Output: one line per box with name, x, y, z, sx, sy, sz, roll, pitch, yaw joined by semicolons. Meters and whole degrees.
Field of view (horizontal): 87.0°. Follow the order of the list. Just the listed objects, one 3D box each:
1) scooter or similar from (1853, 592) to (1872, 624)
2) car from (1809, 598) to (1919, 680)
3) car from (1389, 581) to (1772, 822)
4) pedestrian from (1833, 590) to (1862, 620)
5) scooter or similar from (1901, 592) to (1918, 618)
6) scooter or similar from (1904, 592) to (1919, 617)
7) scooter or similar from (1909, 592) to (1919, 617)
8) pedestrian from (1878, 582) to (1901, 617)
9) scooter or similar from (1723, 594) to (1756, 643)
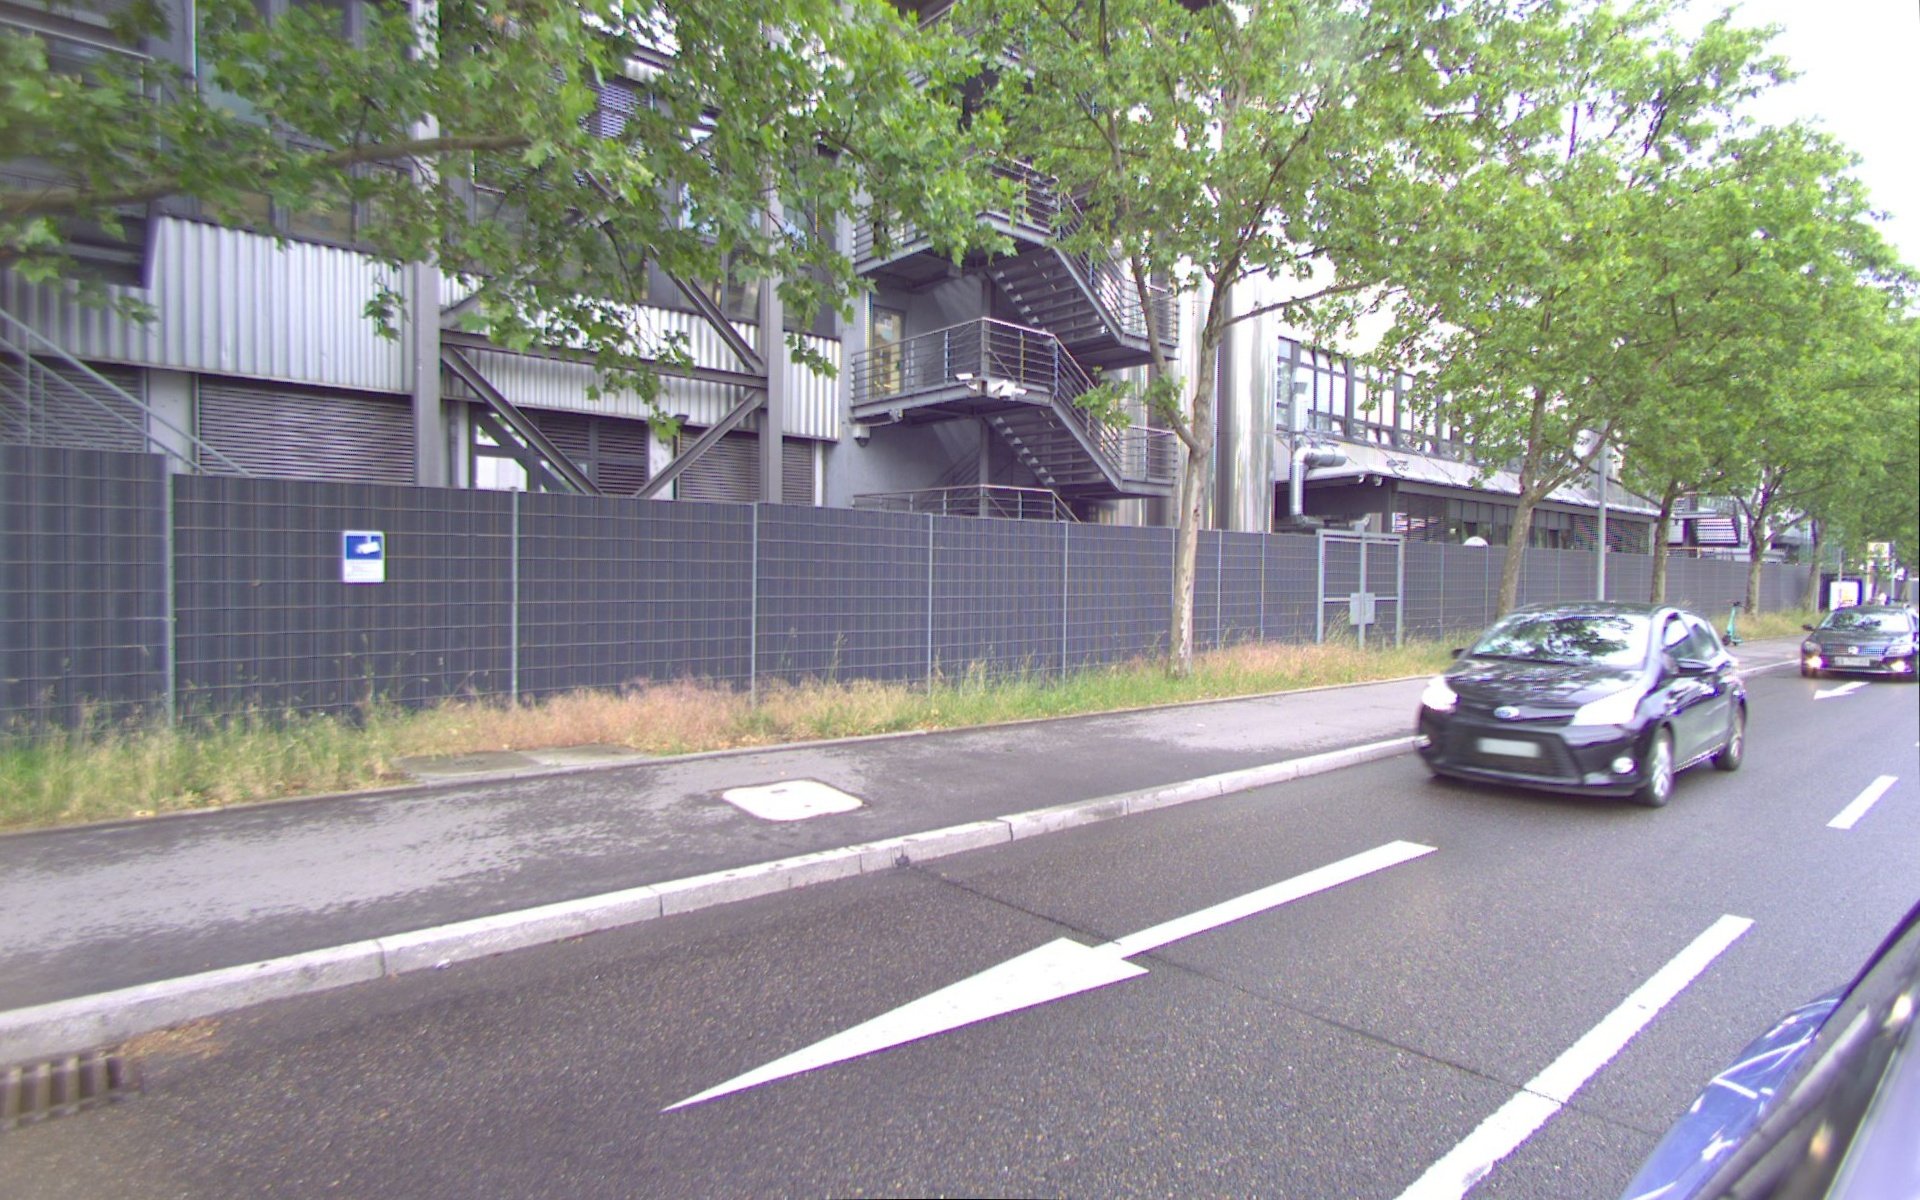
scooter or similar;37.413;0.326;41.967;1.222;1.325;0.329;0;1;-37
car;18.794;0.709;20.557;4.705;1.471;1.840;0;0;-43
car;5.451;0.639;8.672;4.010;1.512;1.877;0;3;-45
pedestrian;43.132;0.235;49.186;0.686;1.433;0.932;0;2;-42
scooter or similar;49.548;0.256;52.805;1.277;1.311;0.437;0;1;-39
scooter or similar;51.046;0.242;54.280;1.277;1.311;0.437;0;1;-39
scooter or similar;52.550;0.232;55.484;1.341;1.311;0.437;0;1;-34
pedestrian;46.472;-0.053;50.593;0.717;1.731;0.777;0;1;-42
scooter or similar;20.947;0.495;27.180;1.087;1.285;0.330;0;1;-33
